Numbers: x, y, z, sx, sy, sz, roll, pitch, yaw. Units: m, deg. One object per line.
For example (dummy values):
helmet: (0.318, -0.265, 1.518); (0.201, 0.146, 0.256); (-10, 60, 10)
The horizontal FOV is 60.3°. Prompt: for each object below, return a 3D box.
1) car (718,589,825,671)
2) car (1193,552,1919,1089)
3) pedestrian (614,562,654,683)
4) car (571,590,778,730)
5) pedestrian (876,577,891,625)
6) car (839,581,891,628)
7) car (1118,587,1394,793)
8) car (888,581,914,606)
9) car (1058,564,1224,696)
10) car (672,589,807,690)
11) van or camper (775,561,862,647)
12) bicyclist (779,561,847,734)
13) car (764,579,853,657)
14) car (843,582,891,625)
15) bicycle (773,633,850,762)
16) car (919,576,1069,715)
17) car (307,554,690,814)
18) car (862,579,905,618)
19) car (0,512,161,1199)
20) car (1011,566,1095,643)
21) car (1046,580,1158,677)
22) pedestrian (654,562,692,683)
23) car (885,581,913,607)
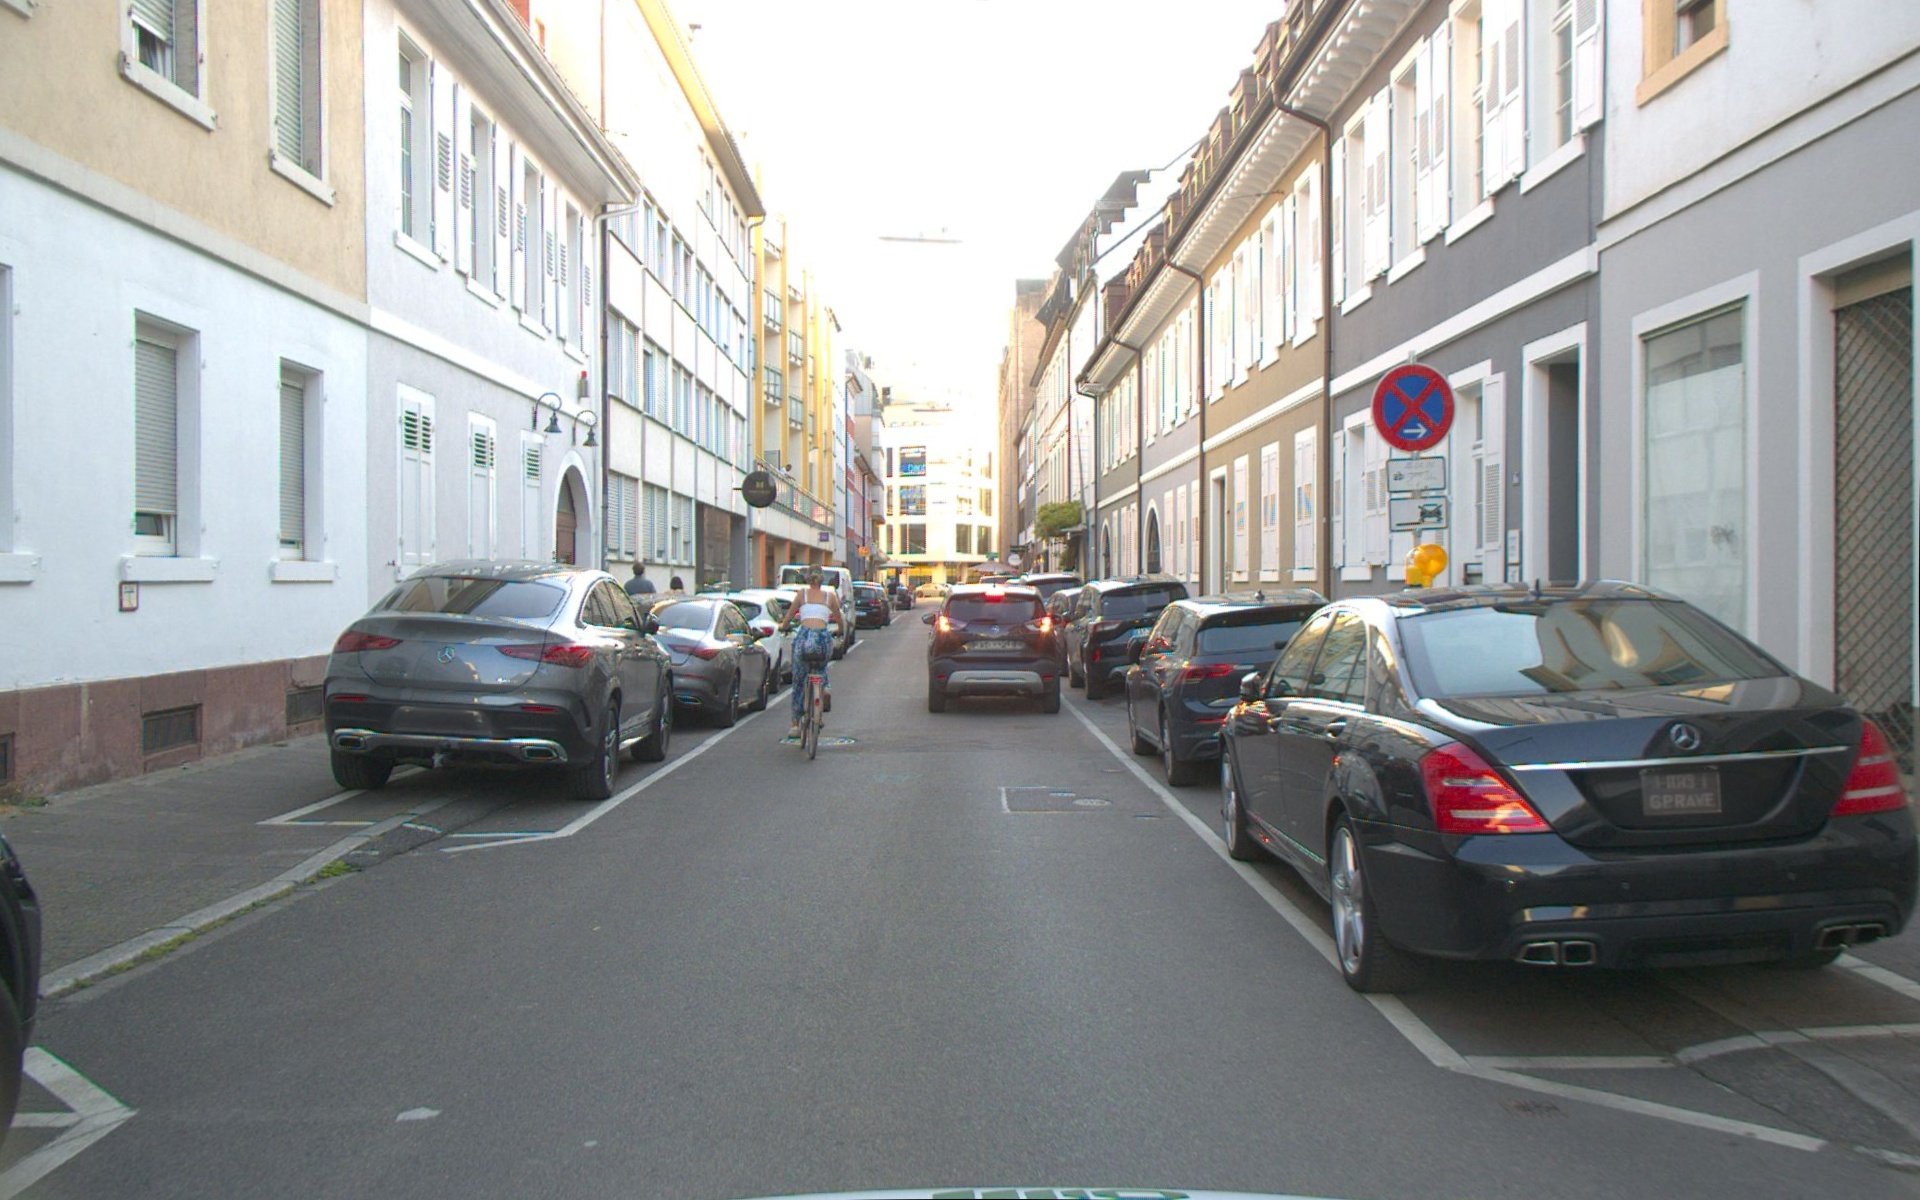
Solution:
car: (-3.507, 0.522, 31.264); (1.619, 1.435, 3.605); (1, 1, 0)
car: (2.346, 0.663, 7.687); (1.782, 1.556, 5.072); (-4, 0, 1)
pedestrian: (-5.553, 0.375, 28.177); (0.598, 2.049, 0.450); (0, 0, -4)
car: (-3.300, 0.629, 19.896); (1.879, 1.459, 4.292); (1, 1, -2)
pedestrian: (-2.895, 0.040, 62.636); (0.543, 1.782, 0.568); (0, 0, -3)
car: (-3.351, 0.143, 58.772); (1.619, 1.588, 3.605); (1, 1, 0)
car: (2.417, 0.664, 14.422); (1.642, 1.512, 4.000); (1, 1, 0)
car: (-3.954, -0.458, 110.906); (1.619, 1.588, 3.605); (1, 1, 0)
car: (2.577, 0.383, 24.522); (1.879, 1.768, 4.152); (1, 1, -2)
car: (-3.404, 0.569, 26.175); (1.619, 1.435, 3.902); (1, 1, 0)
van or camper: (-3.548, 0.074, 42.088); (1.806, 2.048, 4.678); (1, 1, 0)
bicyclist: (-1.382, 0.440, 15.673); (0.608, 1.602, 0.683); (0, 0, -3)
car: (-3.266, 0.359, 36.246); (1.619, 1.588, 3.605); (1, 1, 0)
car: (-3.575, 0.099, 64.074); (1.619, 1.588, 3.605); (1, 1, 0)
bicycle: (-1.384, 0.884, 15.673); (0.601, 1.101, 1.809); (0, 0, -1)
car: (0.375, 0.527, 21.938); (1.782, 1.646, 3.999); (1, 1, -1)
car: (-3.485, 0.547, 13.456); (1.957, 1.737, 4.534); (1, 1, -2)
car: (-3.213, -0.094, 69.771); (1.619, 1.588, 3.605); (1, 1, 0)
car: (-3.110, 0.675, 2.284); (1.765, 1.706, 4.490); (-1, 1, 1)
car: (2.034, 0.078, 36.855); (1.619, 1.588, 3.605); (1, 1, 0)
car: (2.455, 0.450, 29.274); (1.619, 1.588, 3.605); (1, 1, 0)
pedestrian: (-4.872, 0.376, 28.096); (0.598, 2.049, 0.450); (0, 0, -4)
car: (-3.842, -0.396, 104.138); (1.619, 1.588, 3.605); (1, 1, 0)
